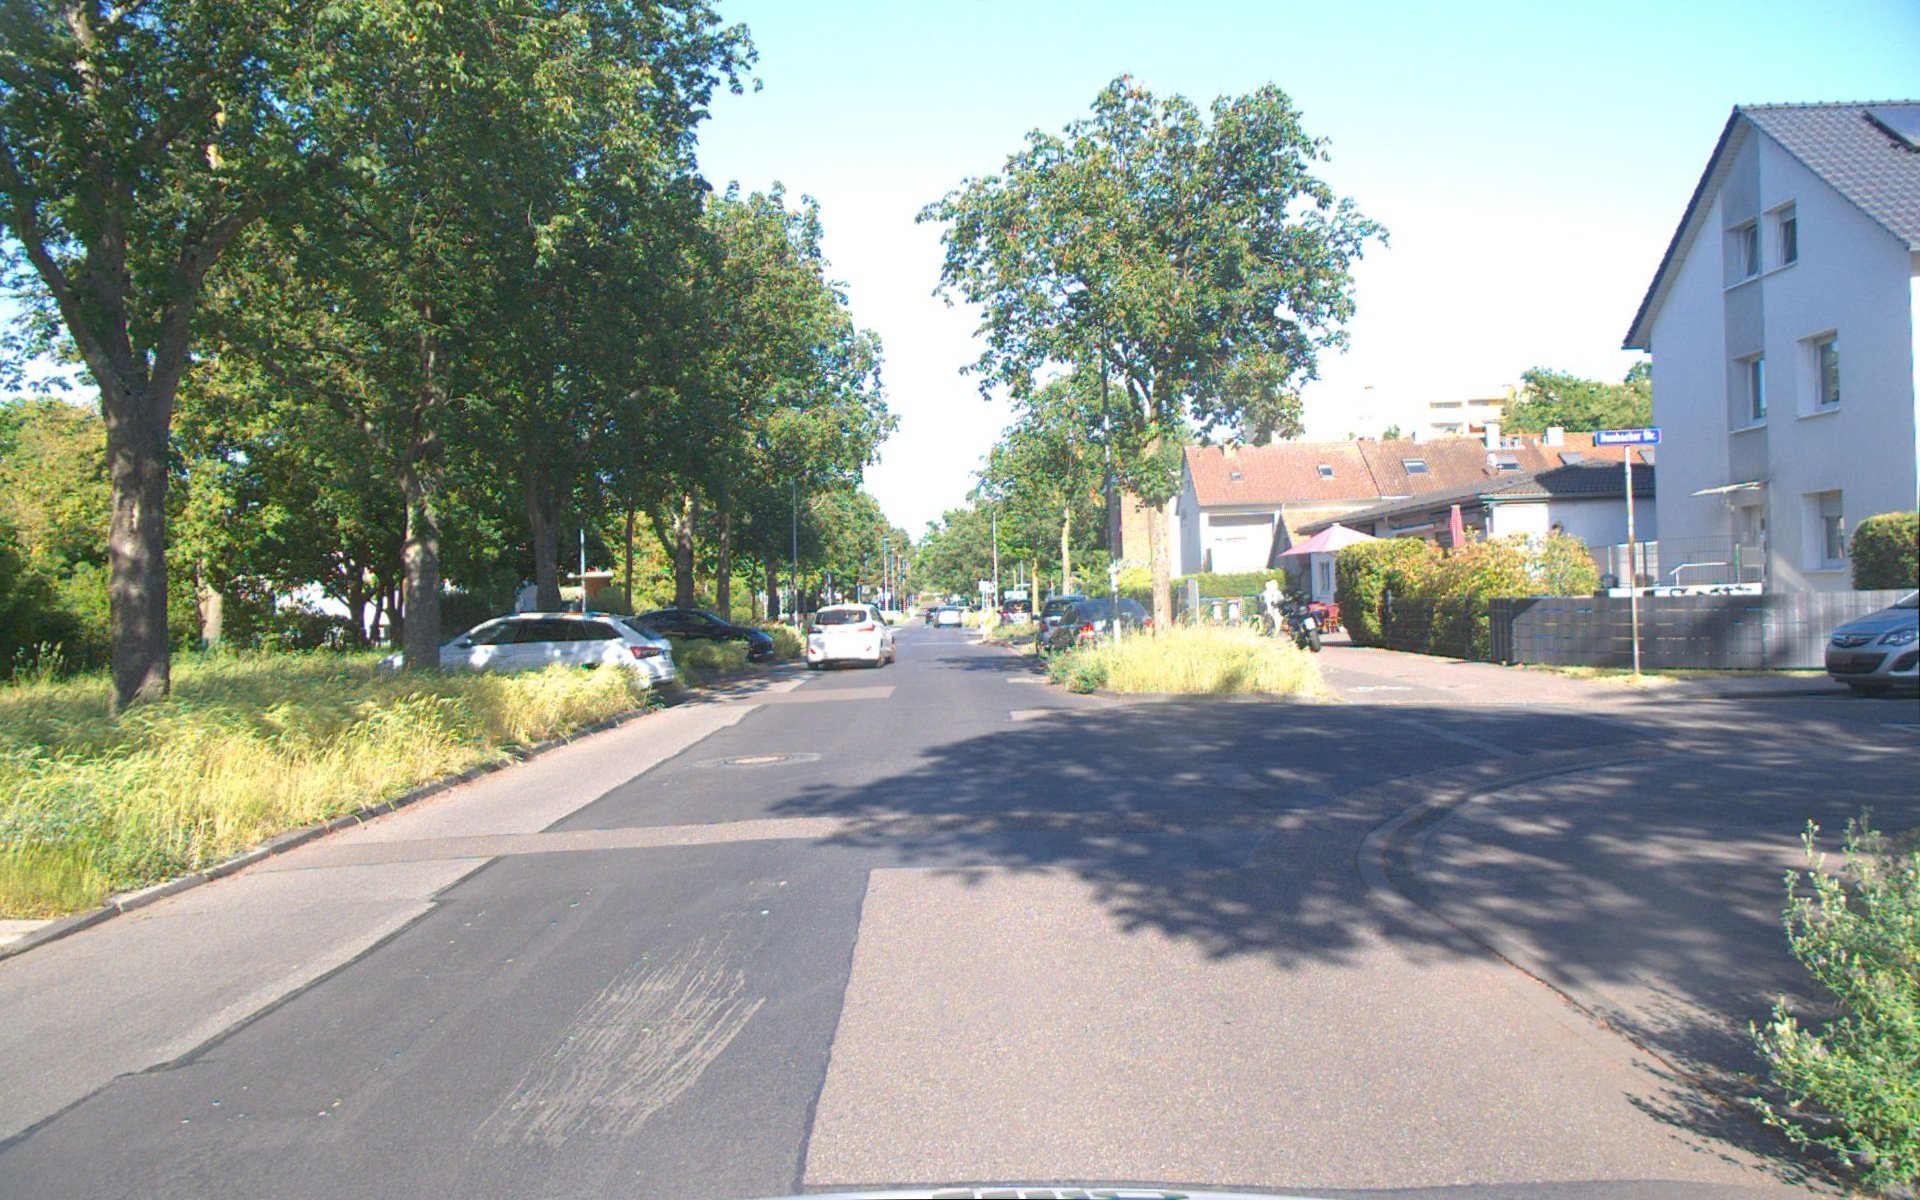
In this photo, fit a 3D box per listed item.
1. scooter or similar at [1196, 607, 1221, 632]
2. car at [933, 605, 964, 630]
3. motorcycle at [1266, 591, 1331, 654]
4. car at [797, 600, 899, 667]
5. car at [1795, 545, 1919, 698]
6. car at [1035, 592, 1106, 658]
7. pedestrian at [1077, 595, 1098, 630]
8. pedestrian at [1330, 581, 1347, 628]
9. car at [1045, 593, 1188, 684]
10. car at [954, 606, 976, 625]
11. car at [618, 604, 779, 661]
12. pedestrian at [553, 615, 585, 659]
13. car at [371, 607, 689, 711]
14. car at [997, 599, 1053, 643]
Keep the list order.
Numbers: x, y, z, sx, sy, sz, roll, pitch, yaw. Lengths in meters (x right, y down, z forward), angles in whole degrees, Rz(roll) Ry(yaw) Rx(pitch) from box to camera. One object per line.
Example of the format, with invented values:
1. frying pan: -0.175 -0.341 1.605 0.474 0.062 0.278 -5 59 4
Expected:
1. scooter or similar: 9.025 0.707 60.036 0.361 0.873 1.407 -1 0 -14
2. car: -0.764 1.135 108.177 1.953 1.534 3.657 2 -1 -1
3. motorcycle: 7.190 0.460 35.269 0.801 1.248 2.351 -3 0 -1
4. car: -2.631 0.757 39.818 1.952 1.480 4.226 -1 0 3
5. car: 12.140 0.179 19.314 3.911 1.668 1.774 -2 0 -7
6. car: 2.954 0.676 45.039 1.577 1.650 4.381 1 -1 0
7. pedestrian: 7.672 0.767 99.581 1.090 2.049 0.921 -1 0 -1
8. pedestrian: 11.536 0.137 50.407 0.430 1.409 0.639 0 -1 4
9. car: 3.043 0.735 33.108 1.955 1.650 4.375 2 -1 -7
10. car: 0.405 1.258 135.595 1.698 1.534 3.657 2 -1 -1
11. car: -7.306 0.897 46.514 4.279 1.558 1.807 0 -1 -2
12. pedestrian: -16.635 1.573 70.321 1.206 1.859 1.543 0 -1 -17
13. car: -6.869 0.924 26.791 4.575 1.530 2.000 -1 0 0
14. car: 2.789 0.920 71.792 1.954 1.758 3.997 -3 -1 -3
